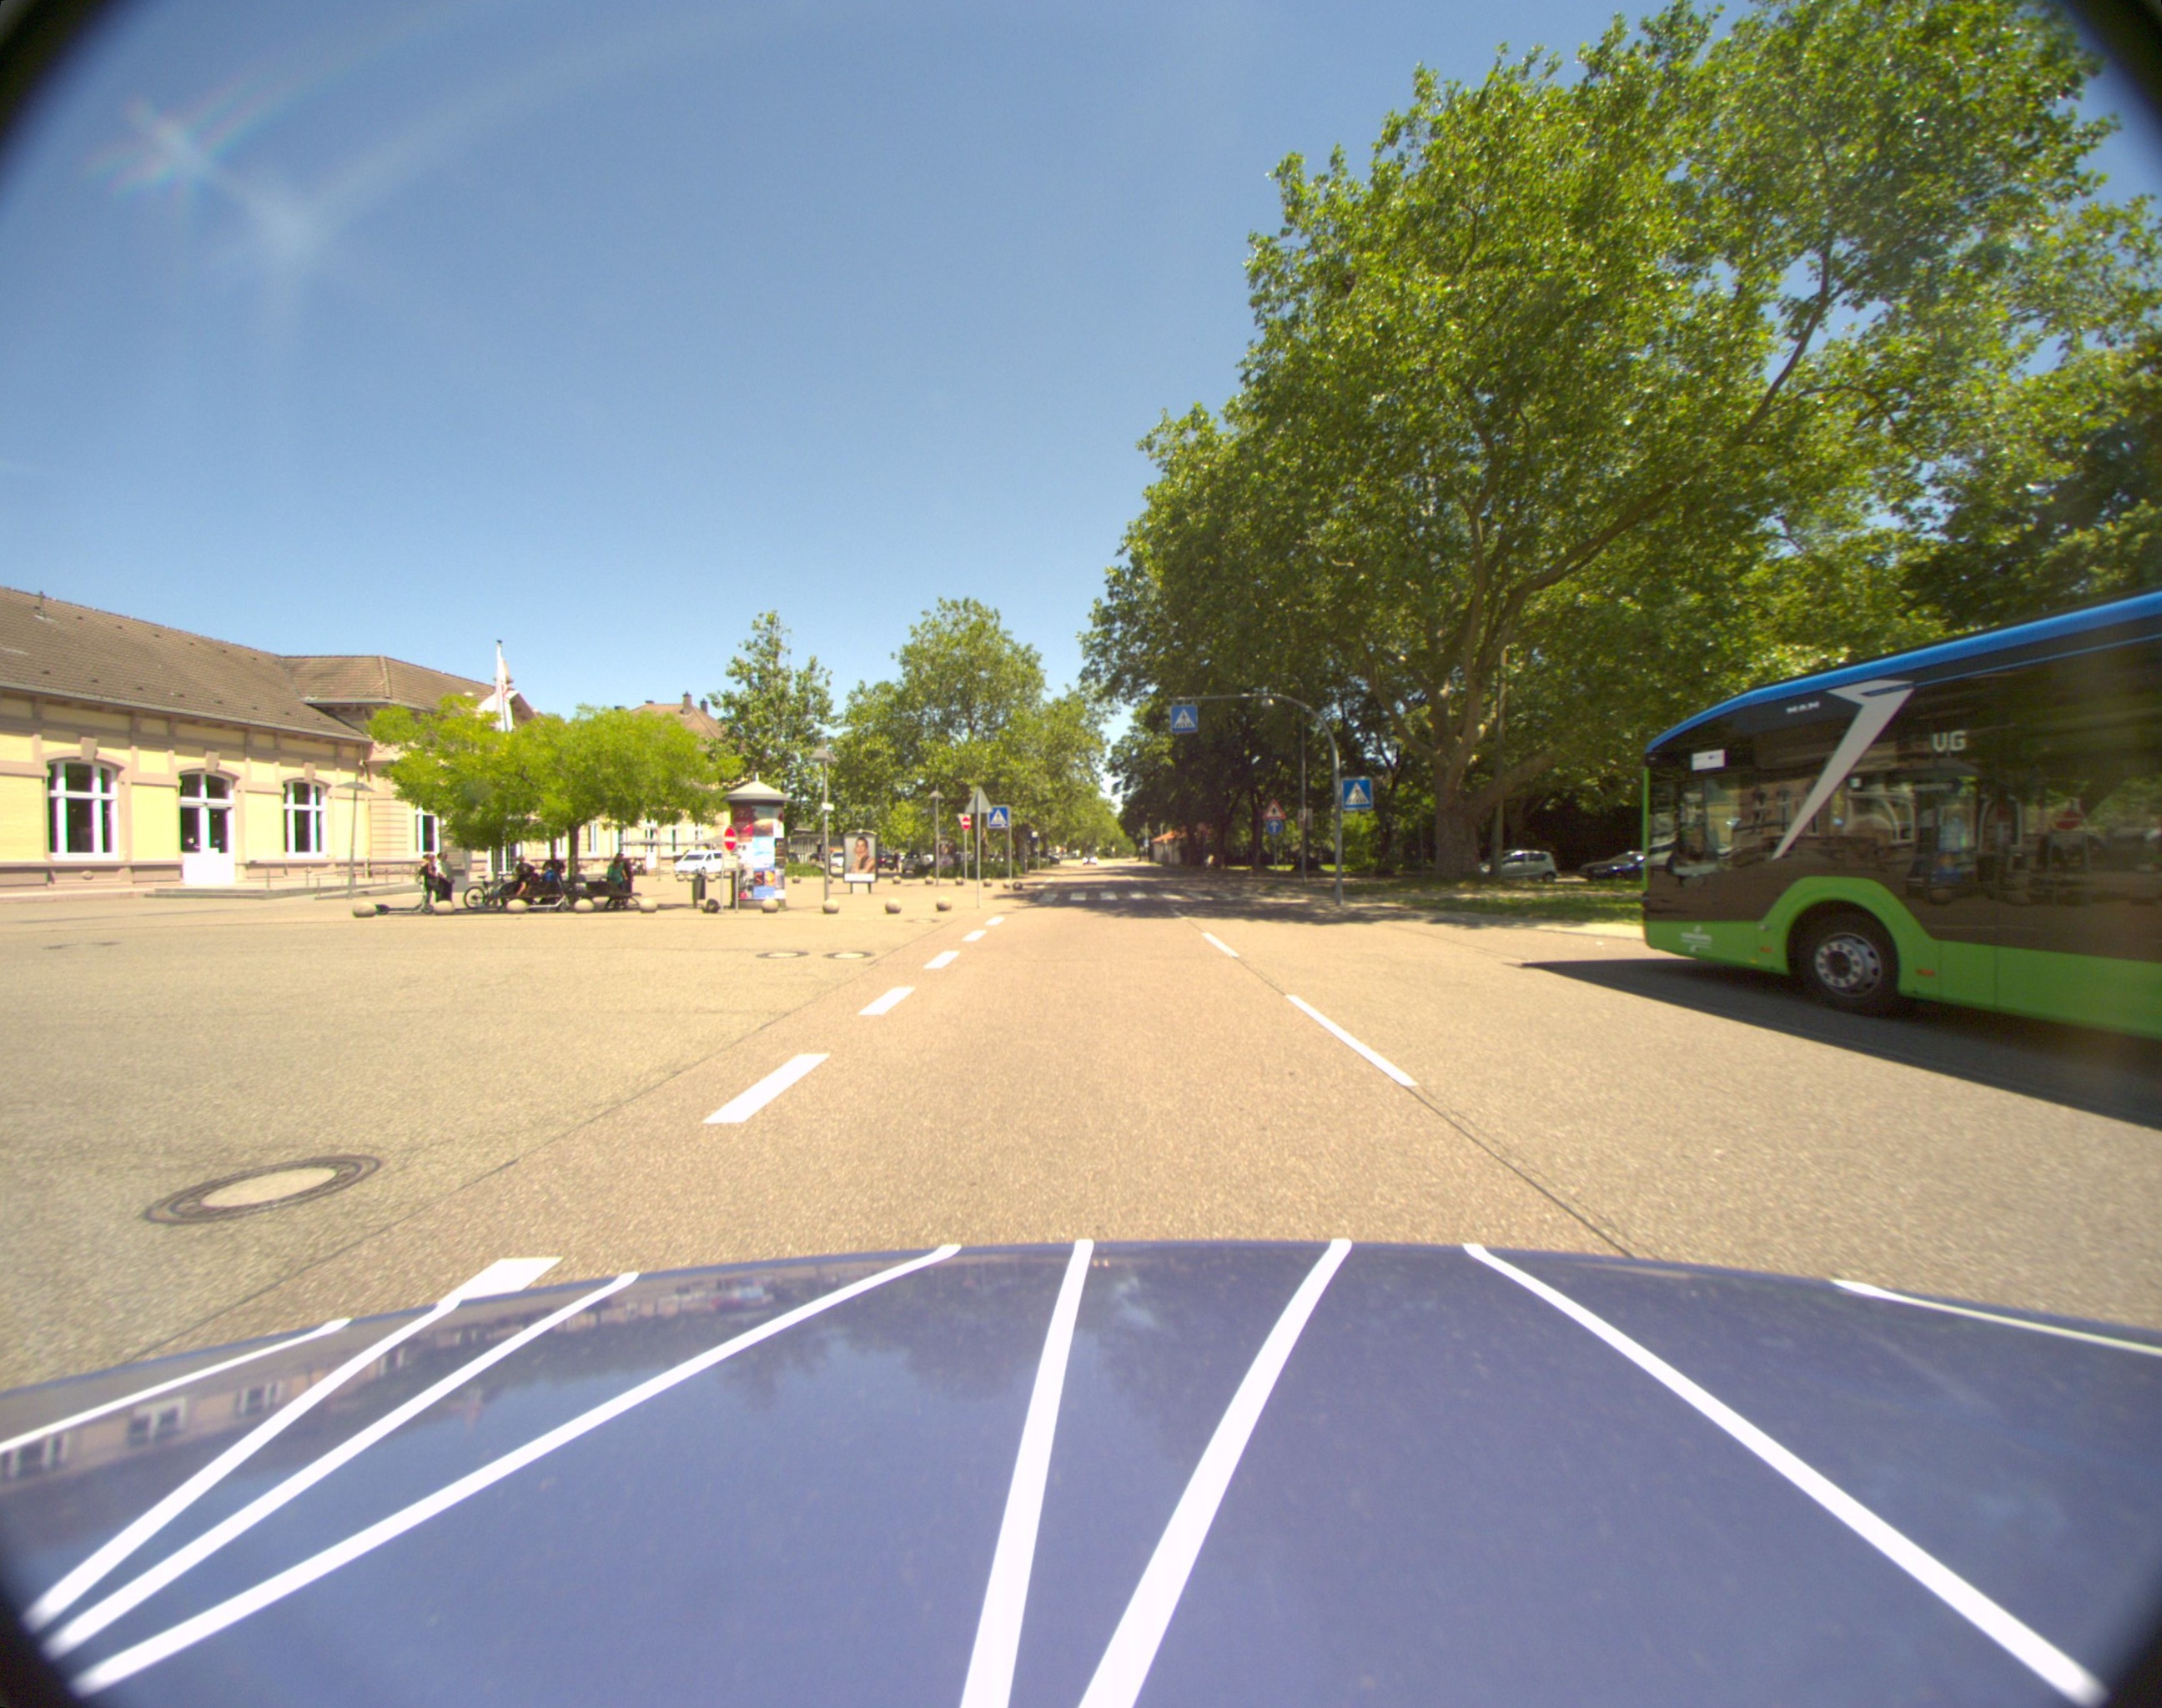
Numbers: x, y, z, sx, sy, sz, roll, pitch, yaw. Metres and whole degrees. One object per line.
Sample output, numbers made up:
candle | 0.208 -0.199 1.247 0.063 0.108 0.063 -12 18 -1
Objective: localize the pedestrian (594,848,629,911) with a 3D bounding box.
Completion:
pedestrian | -13.445 0.713 21.762 0.694 1.753 0.584 -1 1 -16

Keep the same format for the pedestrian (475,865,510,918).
pedestrian | -15.482 0.967 19.993 0.600 1.356 0.598 -1 1 -27

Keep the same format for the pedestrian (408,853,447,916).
pedestrian | -17.621 0.811 20.496 0.555 1.675 0.587 -1 1 -11

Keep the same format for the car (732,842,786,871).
car | -25.508 0.210 60.409 2.093 2.112 5.823 -1 0 -4

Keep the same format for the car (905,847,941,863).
car | -16.656 0.085 80.061 1.804 1.596 4.051 -3 4 -44

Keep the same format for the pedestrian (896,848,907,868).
pedestrian | -13.698 0.303 57.946 0.591 1.539 0.609 0 1 -37

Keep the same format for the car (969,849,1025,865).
car | -7.753 0.242 70.084 4.782 1.409 1.783 -1 1 -18

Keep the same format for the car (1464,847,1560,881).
car | 19.862 0.448 35.122 3.483 1.489 1.599 -1 2 1

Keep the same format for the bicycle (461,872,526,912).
bicycle | -17.692 1.125 22.936 0.421 1.054 1.948 -1 1 -1

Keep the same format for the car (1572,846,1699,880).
car | 25.242 0.414 34.710 4.499 1.431 1.755 -1 2 1

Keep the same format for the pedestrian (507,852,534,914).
pedestrian | -15.973 0.825 21.656 0.513 1.730 0.569 -1 1 -28

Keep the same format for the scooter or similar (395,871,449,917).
scooter or similar | -17.007 1.025 19.611 1.028 1.133 0.294 -1 1 -6

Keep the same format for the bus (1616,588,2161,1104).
bus | 8.225 -0.056 3.590 2.816 3.264 12.424 -1 0 1

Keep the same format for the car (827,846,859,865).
car | -25.474 0.127 81.368 2.003 1.830 5.315 -2 1 -4

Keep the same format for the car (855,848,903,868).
car | -16.921 0.302 63.636 4.516 1.534 1.804 2 4 45

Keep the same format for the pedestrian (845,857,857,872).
pedestrian | -22.088 1.001 73.043 0.689 1.416 0.803 0 1 36

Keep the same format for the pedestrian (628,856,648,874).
pedestrian | -30.023 0.737 51.526 0.881 1.155 0.851 1 1 -3

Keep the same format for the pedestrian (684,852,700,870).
pedestrian | -31.041 0.544 60.632 0.881 1.363 0.851 1 1 -3

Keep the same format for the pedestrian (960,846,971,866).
pedestrian | -10.512 0.197 69.287 0.839 1.760 0.850 -1 1 -18

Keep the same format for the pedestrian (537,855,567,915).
pedestrian | -15.559 0.903 22.344 0.586 1.730 0.598 -1 1 -24

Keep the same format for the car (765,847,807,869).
car | -25.968 0.338 66.988 2.080 1.829 4.839 -1 0 -4

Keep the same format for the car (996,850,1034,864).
car | -7.347 0.284 84.259 3.882 1.452 1.633 -1 1 -27

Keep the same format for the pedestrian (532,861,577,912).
pedestrian | -14.911 0.900 21.536 0.914 1.378 0.942 -1 1 -28

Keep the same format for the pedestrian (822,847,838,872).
pedestrian | -17.570 0.396 53.145 0.812 1.707 0.775 0 1 44

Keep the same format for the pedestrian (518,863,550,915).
pedestrian | -14.643 0.919 20.342 0.600 1.356 0.598 -1 1 -27

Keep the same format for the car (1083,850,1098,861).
car | 1.255 0.167 97.960 1.661 1.368 3.450 -3 0 -2

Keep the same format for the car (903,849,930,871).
car | -12.376 0.415 57.181 1.601 1.584 3.104 -1 1 -5

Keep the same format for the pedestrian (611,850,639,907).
pedestrian | -14.080 0.751 23.466 0.628 1.730 0.547 -1 1 -24

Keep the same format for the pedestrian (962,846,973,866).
pedestrian | -10.184 0.179 68.302 0.839 1.760 0.850 -1 1 -19

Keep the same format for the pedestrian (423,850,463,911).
pedestrian | -17.713 0.721 21.106 0.619 1.675 0.590 -1 1 -11

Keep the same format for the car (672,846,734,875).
car | -26.082 0.461 52.641 1.814 1.855 5.138 -1 0 -1

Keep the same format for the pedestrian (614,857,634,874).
pedestrian | -30.963 0.768 51.486 0.881 1.073 0.851 1 1 -3

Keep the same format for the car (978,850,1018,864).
car | -8.764 0.284 80.398 3.882 1.452 1.633 -1 1 -27
